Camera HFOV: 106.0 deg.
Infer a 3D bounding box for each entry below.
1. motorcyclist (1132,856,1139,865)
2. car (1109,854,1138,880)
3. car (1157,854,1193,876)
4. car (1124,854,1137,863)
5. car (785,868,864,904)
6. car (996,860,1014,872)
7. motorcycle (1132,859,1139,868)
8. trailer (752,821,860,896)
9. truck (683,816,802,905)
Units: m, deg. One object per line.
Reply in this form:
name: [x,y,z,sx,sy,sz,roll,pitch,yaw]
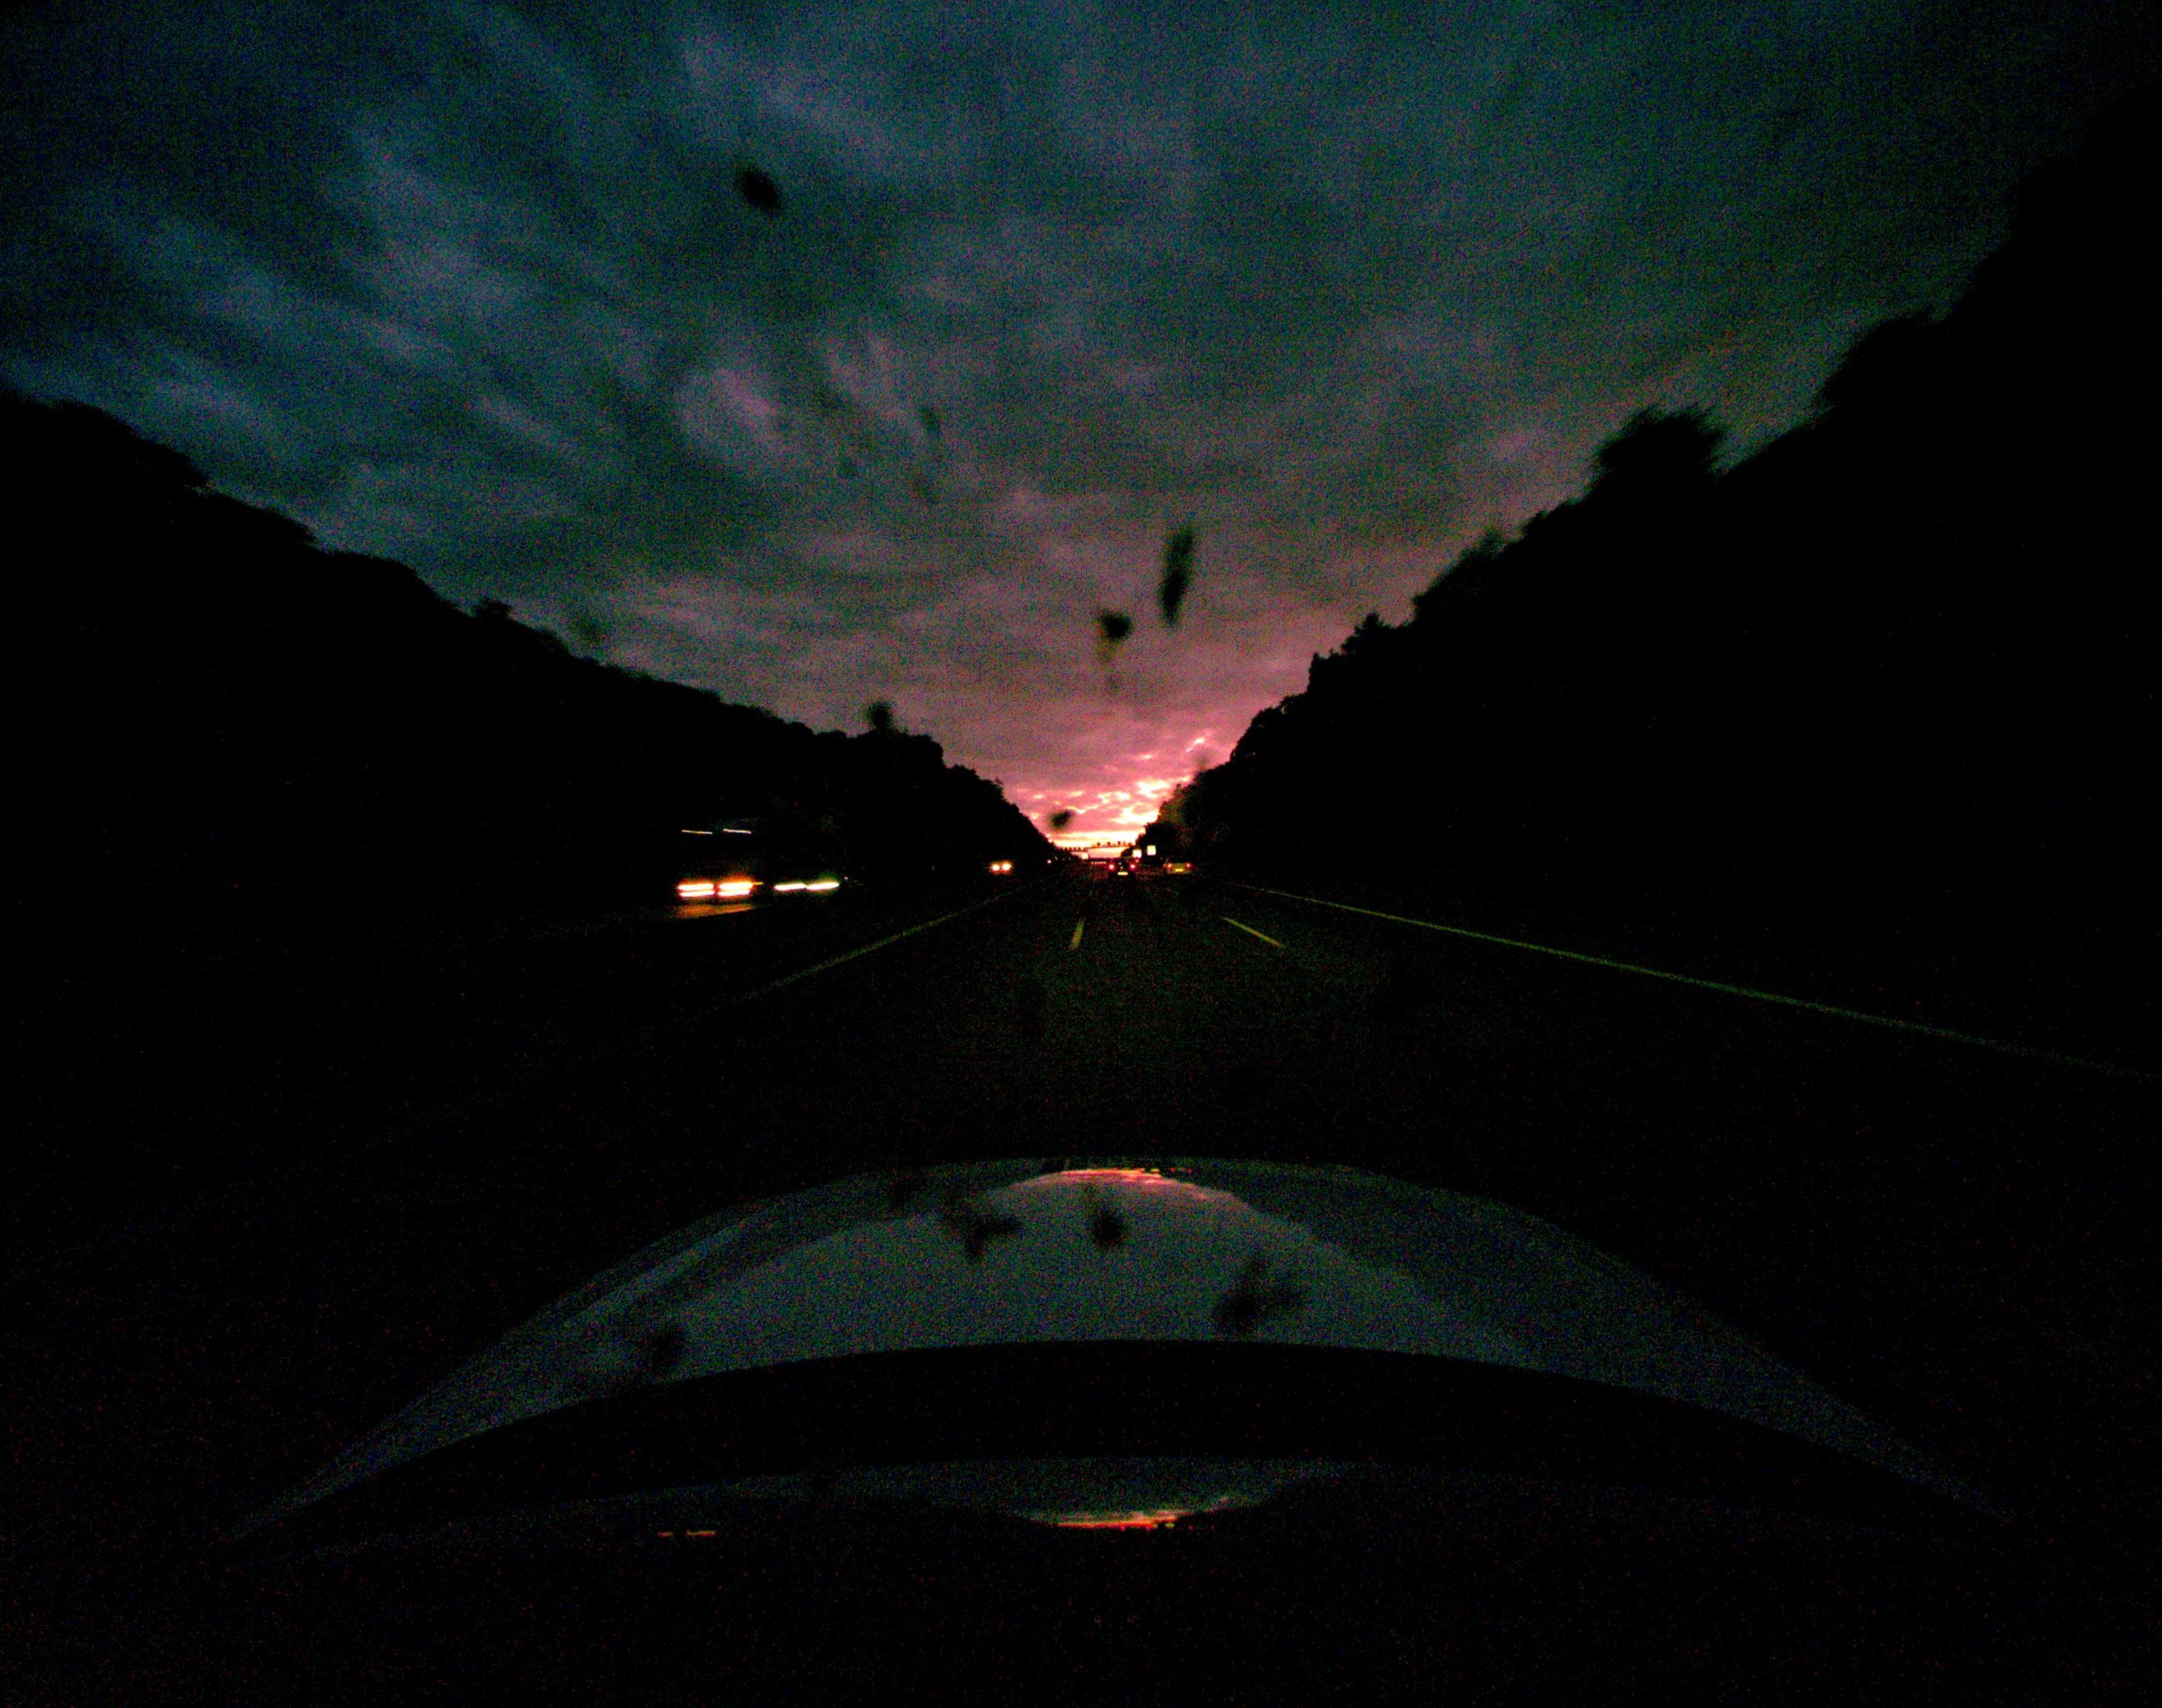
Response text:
motorcyclist: [7.536,0.923,112.904,0.827,1.292,1.190,-2,-1,1]
car: [2.560,0.840,49.609,1.697,1.509,4.233,0,-2,2]
car: [6.468,0.807,56.454,1.821,1.476,4.393,0,-2,-3]
car: [9.047,0.820,148.536,1.861,1.494,4.393,0,-2,-3]
car: [-12.165,1.475,38.999,1.903,1.451,5.356,-2,0,2]
car: [-10.396,1.614,111.168,1.874,1.575,4.655,-2,0,1]
motorcycle: [7.550,1.293,112.963,0.827,1.134,2.476,-2,-1,1]
trailer: [-16.178,0.278,48.904,2.637,3.930,10.190,-2,0,2]
truck: [-16.482,0.313,40.275,2.637,3.972,7.125,-2,0,2]
